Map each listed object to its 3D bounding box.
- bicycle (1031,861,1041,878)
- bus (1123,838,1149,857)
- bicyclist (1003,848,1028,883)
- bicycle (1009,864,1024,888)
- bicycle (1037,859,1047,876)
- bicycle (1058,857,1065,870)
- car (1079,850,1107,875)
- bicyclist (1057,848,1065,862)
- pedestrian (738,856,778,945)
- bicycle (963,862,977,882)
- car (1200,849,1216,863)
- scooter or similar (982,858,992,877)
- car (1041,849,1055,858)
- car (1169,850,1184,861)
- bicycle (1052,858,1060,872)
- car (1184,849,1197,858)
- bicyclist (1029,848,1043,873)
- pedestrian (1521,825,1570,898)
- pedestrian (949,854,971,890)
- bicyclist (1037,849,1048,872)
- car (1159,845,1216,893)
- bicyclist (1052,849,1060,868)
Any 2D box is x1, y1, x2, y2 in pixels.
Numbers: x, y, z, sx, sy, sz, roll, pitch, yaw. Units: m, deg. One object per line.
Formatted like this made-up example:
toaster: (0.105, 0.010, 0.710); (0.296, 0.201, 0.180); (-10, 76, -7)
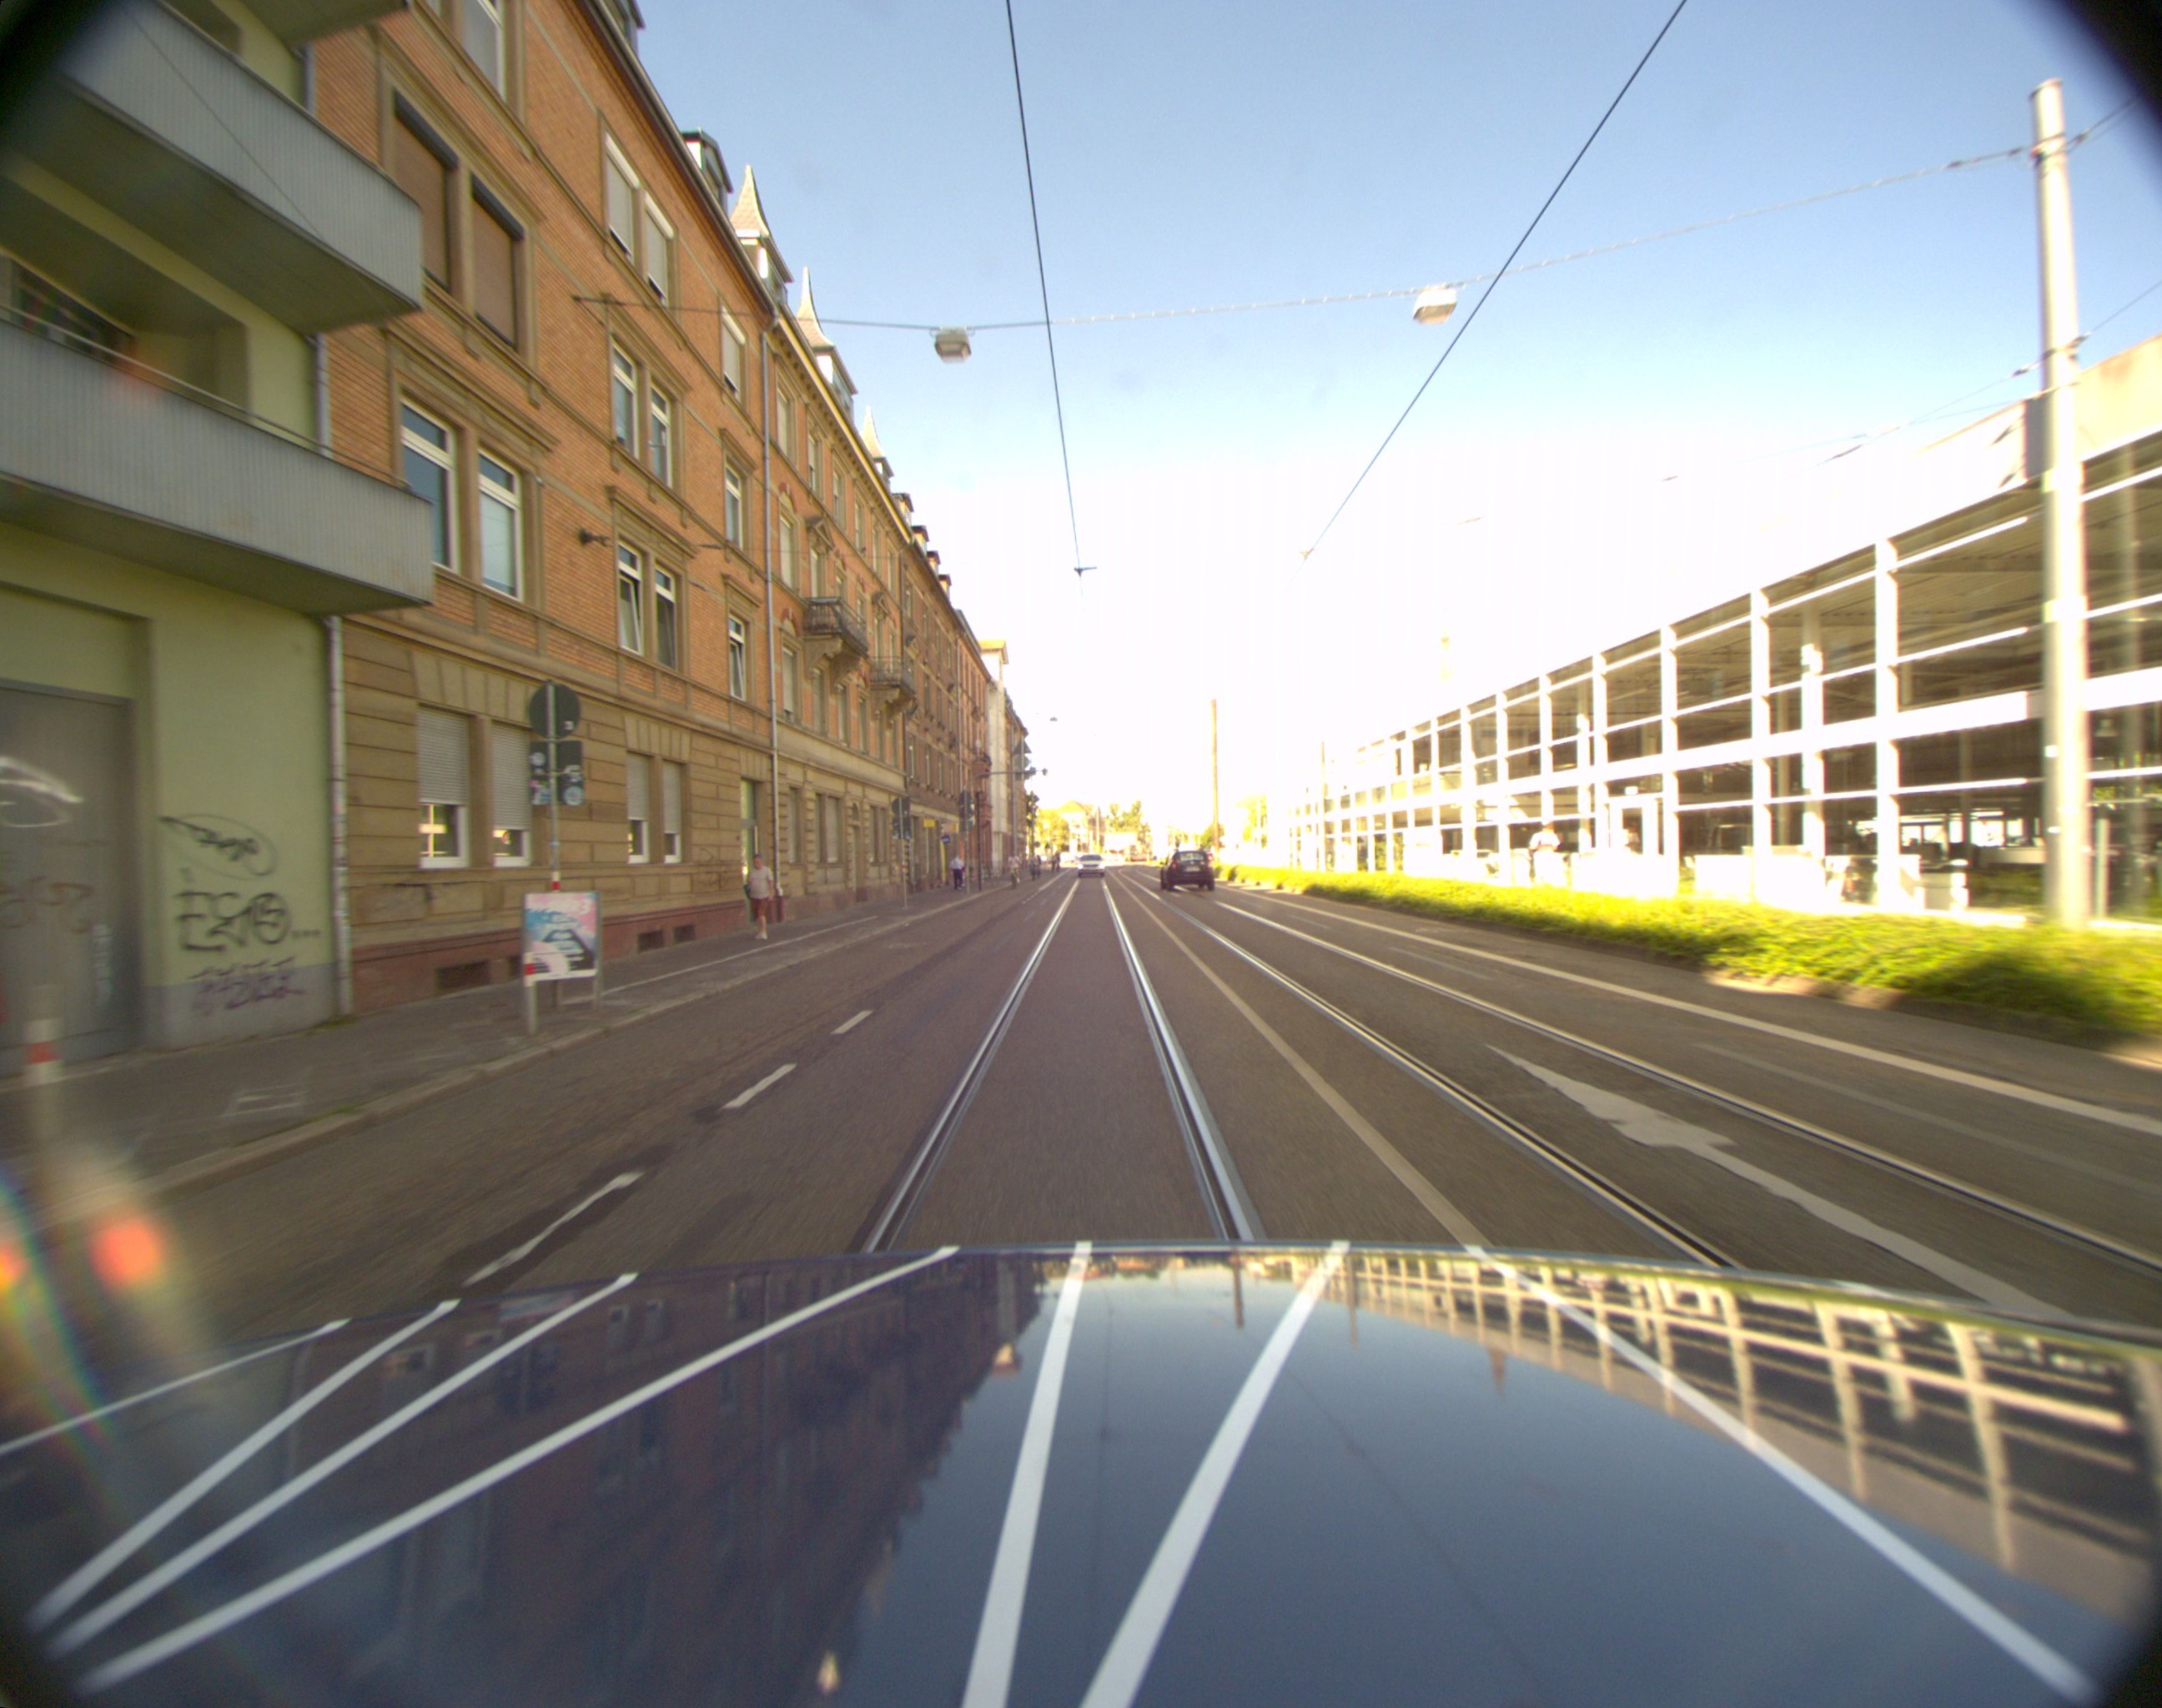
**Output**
bicycle: (-2.948, 1.026, 50.084); (0.387, 1.062, 1.934); (-1, 0, 3)
bus: (11.172, -1.297, 153.048); (2.845, 3.569, 11.282); (-2, 0, 15)
bicyclist: (-3.283, 0.569, 38.004); (0.681, 1.674, 1.122); (-2, 1, 26)
bicycle: (-3.215, 1.103, 37.995); (0.533, 1.111, 1.933); (-1, 1, 1)
bicycle: (-2.791, 0.938, 54.541); (0.533, 1.111, 1.933); (-1, 1, 2)
bicycle: (-1.904, 0.910, 74.528); (0.533, 1.152, 1.865); (-2, 1, 0)
car: (0.866, 0.596, 53.224); (1.868, 1.635, 4.397); (-2, 0, 1)
bicyclist: (-1.980, 0.088, 74.718); (0.675, 1.413, 1.036); (-3, 1, 1)
pedestrian: (-6.303, 0.900, 14.845); (0.554, 1.691, 0.474); (0, 1, 1)
bicycle: (-6.425, 1.020, 44.060); (0.410, 1.115, 1.898); (0, 1, 5)
car: (16.232, 0.224, 96.984); (1.803, 1.709, 4.418); (-1, 1, 7)
scooter or similar: (-6.221, 0.899, 50.161); (0.407, 1.204, 1.480); (0, 1, 2)
car: (-9.764, -0.132, 225.356); (2.246, 2.665, 5.296); (-4, 1, -23)
car: (14.840, 0.223, 118.621); (1.807, 1.424, 4.540); (-3, 1, 2)
bicycle: (-2.160, 0.949, 66.492); (0.533, 1.111, 1.933); (-3, 1, 1)
car: (17.726, -0.074, 123.065); (1.653, 1.470, 3.971); (0, 1, 2)
bicyclist: (-2.956, 0.436, 49.984); (0.784, 1.584, 0.886); (-1, 1, 3)
pedestrian: (11.504, 0.173, 18.834); (0.528, 1.754, 1.051); (-3, 1, 1)
pedestrian: (-5.526, 0.826, 34.733); (0.800, 1.596, 0.652); (-1, 1, 3)
bicyclist: (-2.787, 0.476, 54.689); (0.625, 1.604, 0.981); (-3, 1, 2)
car: (4.181, 0.518, 30.333); (1.763, 1.687, 4.144); (-3, 1, 2)
bicyclist: (-2.192, 0.410, 66.476); (0.551, 1.604, 0.953); (-3, 1, 1)
